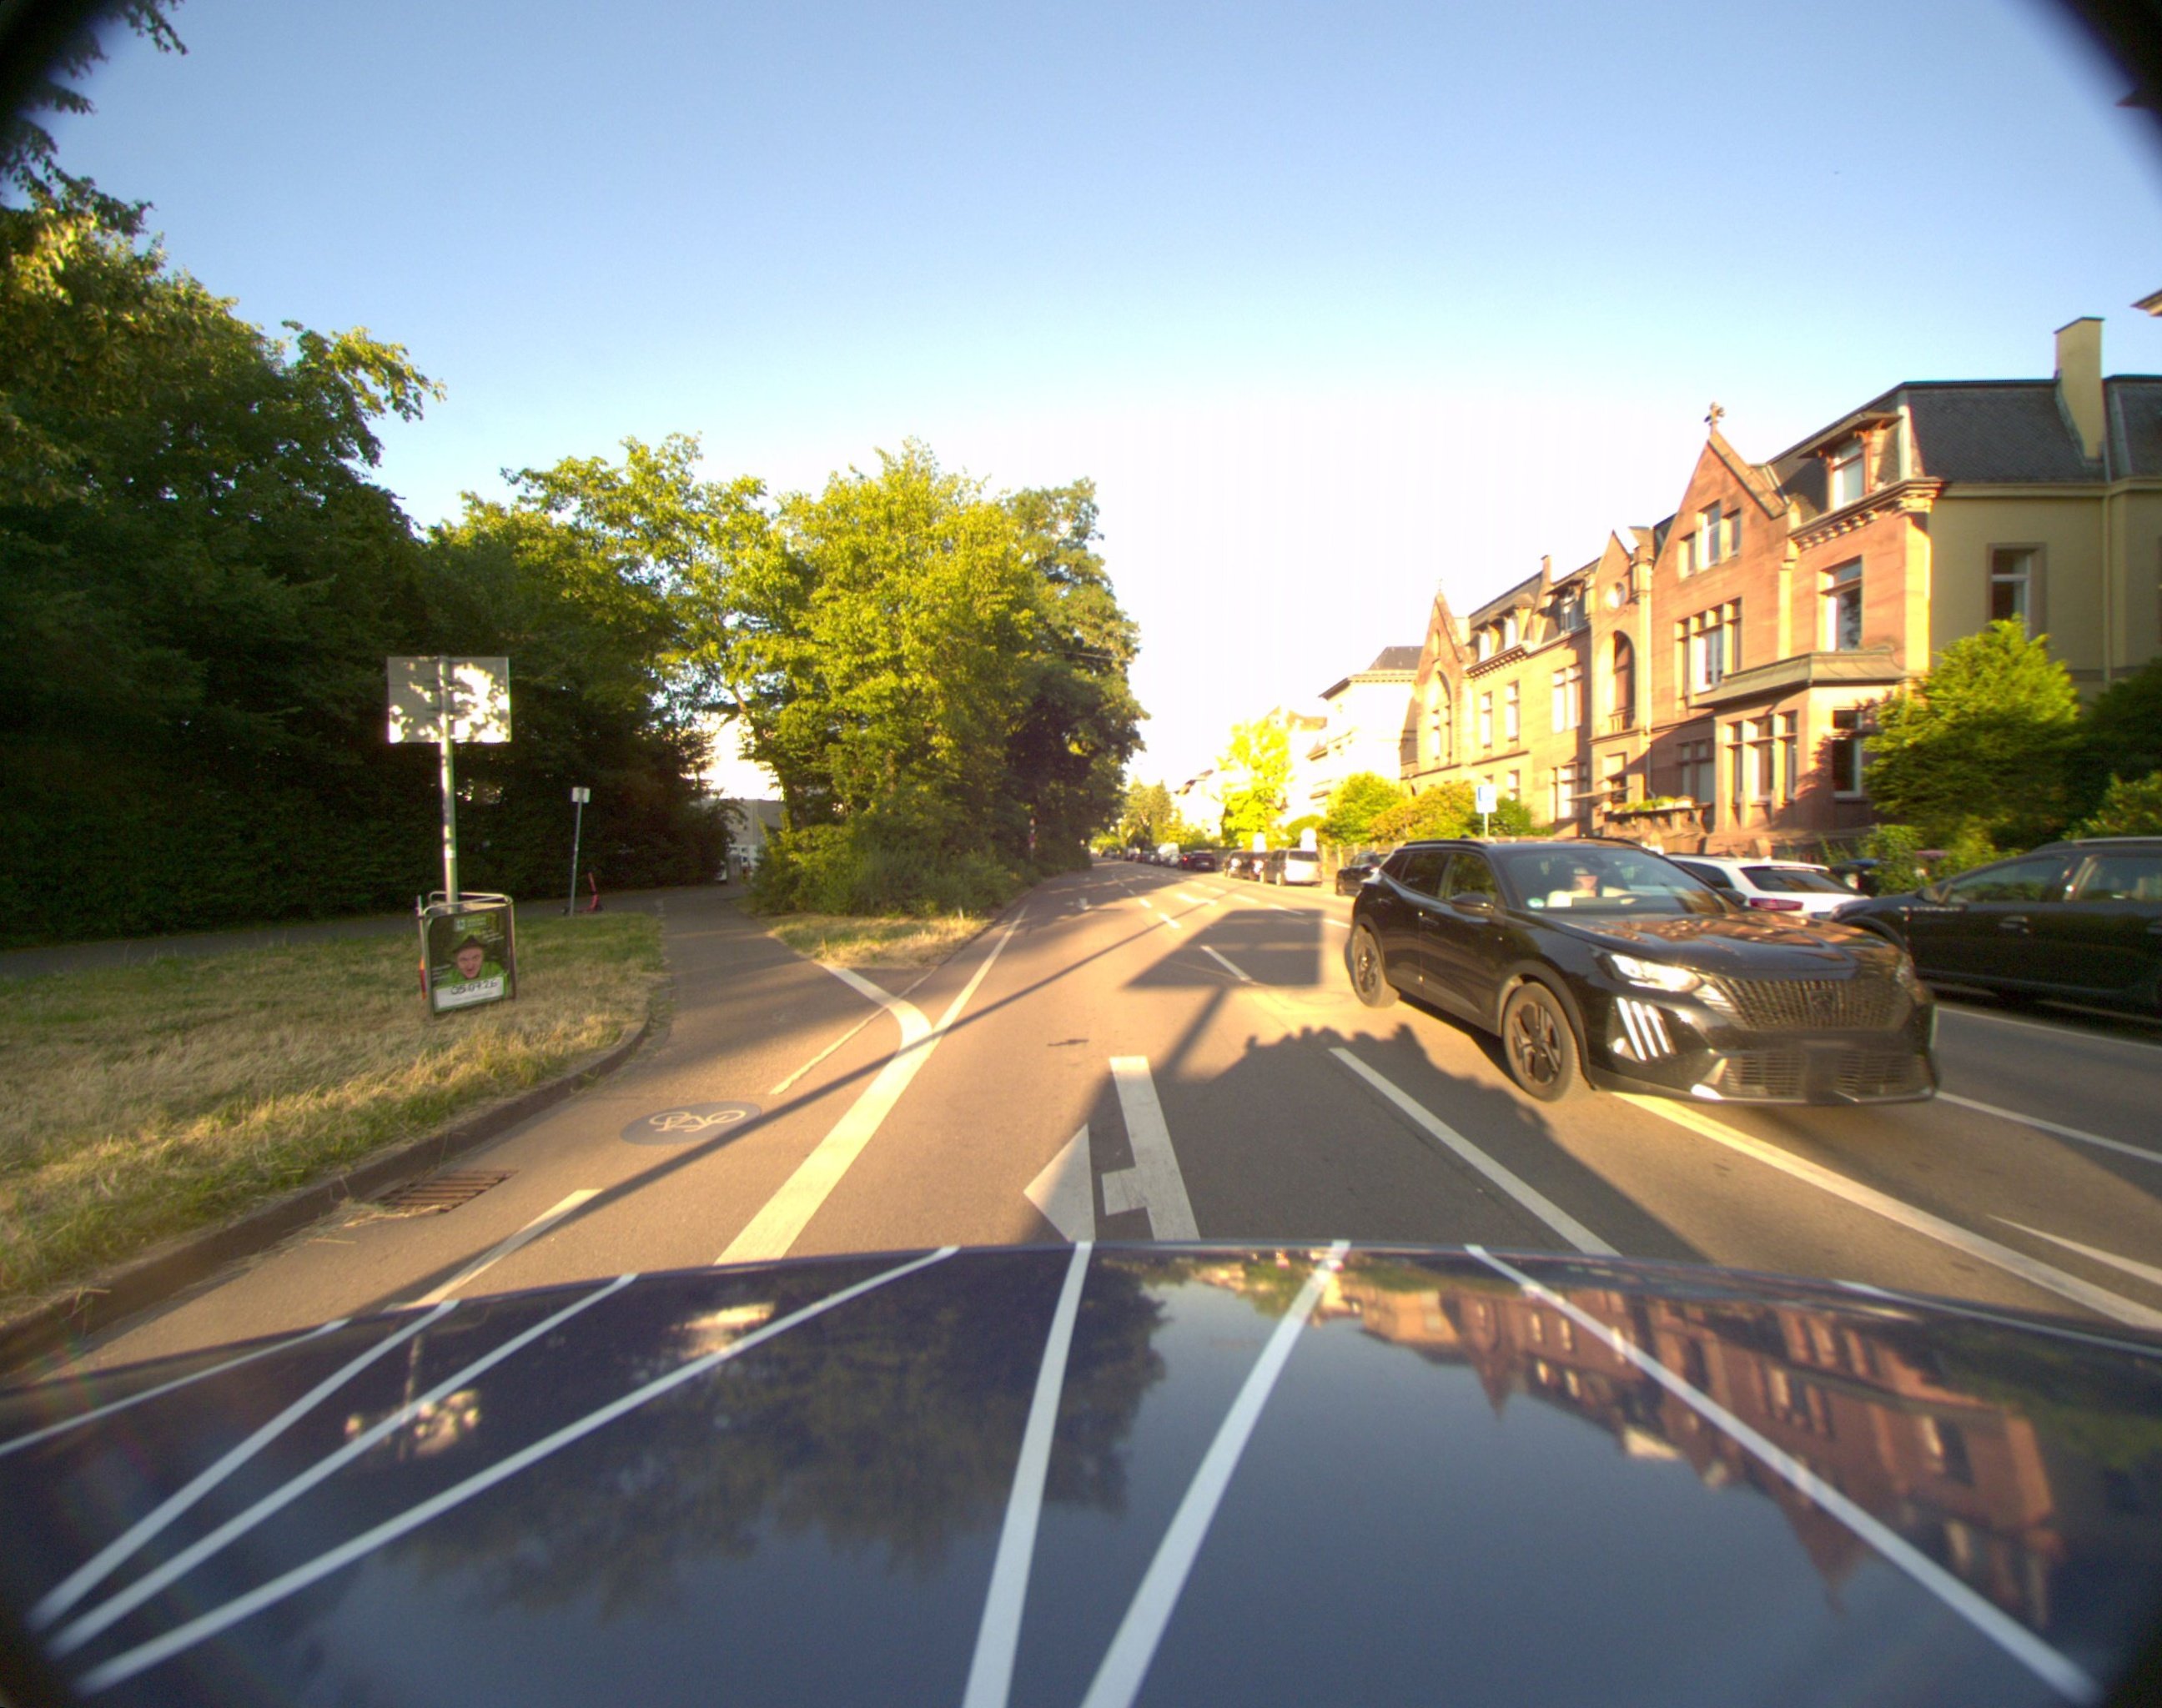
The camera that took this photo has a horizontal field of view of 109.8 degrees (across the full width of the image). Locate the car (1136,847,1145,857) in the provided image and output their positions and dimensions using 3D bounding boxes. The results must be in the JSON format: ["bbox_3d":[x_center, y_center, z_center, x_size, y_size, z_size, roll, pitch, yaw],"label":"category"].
[{"bbox_3d":[9.079,-0.307,115.987,1.220,1.430,2.515,0,1,1],"label":"car"}]

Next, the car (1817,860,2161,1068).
[{"bbox_3d":[8.968,0.866,6.560,1.631,1.526,3.723,2,1,2],"label":"car"}]

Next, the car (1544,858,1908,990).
[{"bbox_3d":[8.896,0.837,11.113,1.608,1.435,4.433,2,0,2],"label":"car"}]

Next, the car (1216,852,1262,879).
[{"bbox_3d":[8.825,0.632,42.657,1.716,1.442,3.722,0,0,-1],"label":"car"}]

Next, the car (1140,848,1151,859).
[{"bbox_3d":[8.760,-0.061,103.599,1.327,1.430,2.697,0,0,1],"label":"car"}]

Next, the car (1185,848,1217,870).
[{"bbox_3d":[8.942,0.325,56.878,1.880,1.596,3.722,0,0,1],"label":"car"}]

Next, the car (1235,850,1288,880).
[{"bbox_3d":[8.975,0.526,38.033,1.716,1.442,3.722,0,0,-1],"label":"car"}]

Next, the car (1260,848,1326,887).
[{"bbox_3d":[9.113,0.538,32.944,1.716,1.579,3.752,0,0,-1],"label":"car"}]

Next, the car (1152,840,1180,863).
[{"bbox_3d":[9.002,-0.306,81.137,2.231,2.355,5.878,0,0,-1],"label":"car"}]

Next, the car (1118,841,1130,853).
[{"bbox_3d":[8.889,-1.428,156.616,1.999,2.442,5.579,-1,0,-1],"label":"car"}]

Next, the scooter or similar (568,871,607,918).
[{"bbox_3d":[-11.847,0.959,18.270,0.194,1.079,0.837,-2,0,15],"label":"scooter or similar"}]

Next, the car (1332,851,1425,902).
[{"bbox_3d":[9.180,0.645,23.745,1.631,1.437,3.566,0,0,2],"label":"car"}]

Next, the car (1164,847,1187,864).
[{"bbox_3d":[9.219,0.157,74.362,1.715,1.596,3.853,0,0,1],"label":"car"}]

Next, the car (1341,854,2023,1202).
[{"bbox_3d":[3.386,0.782,5.415,1.682,1.527,3.999,-1,0,0],"label":"car"}]

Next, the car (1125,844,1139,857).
[{"bbox_3d":[8.788,-0.552,131.453,2.203,2.201,4.527,0,0,1],"label":"car"}]

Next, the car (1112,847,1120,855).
[{"bbox_3d":[9.295,-0.777,204.464,1.998,2.002,4.000,-1,0,1],"label":"car"}]

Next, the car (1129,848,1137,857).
[{"bbox_3d":[8.596,-0.211,126.239,1.220,1.430,2.515,0,1,1],"label":"car"}]

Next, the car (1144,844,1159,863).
[{"bbox_3d":[8.656,-0.035,93.417,1.571,2.253,3.800,0,1,1],"label":"car"}]
